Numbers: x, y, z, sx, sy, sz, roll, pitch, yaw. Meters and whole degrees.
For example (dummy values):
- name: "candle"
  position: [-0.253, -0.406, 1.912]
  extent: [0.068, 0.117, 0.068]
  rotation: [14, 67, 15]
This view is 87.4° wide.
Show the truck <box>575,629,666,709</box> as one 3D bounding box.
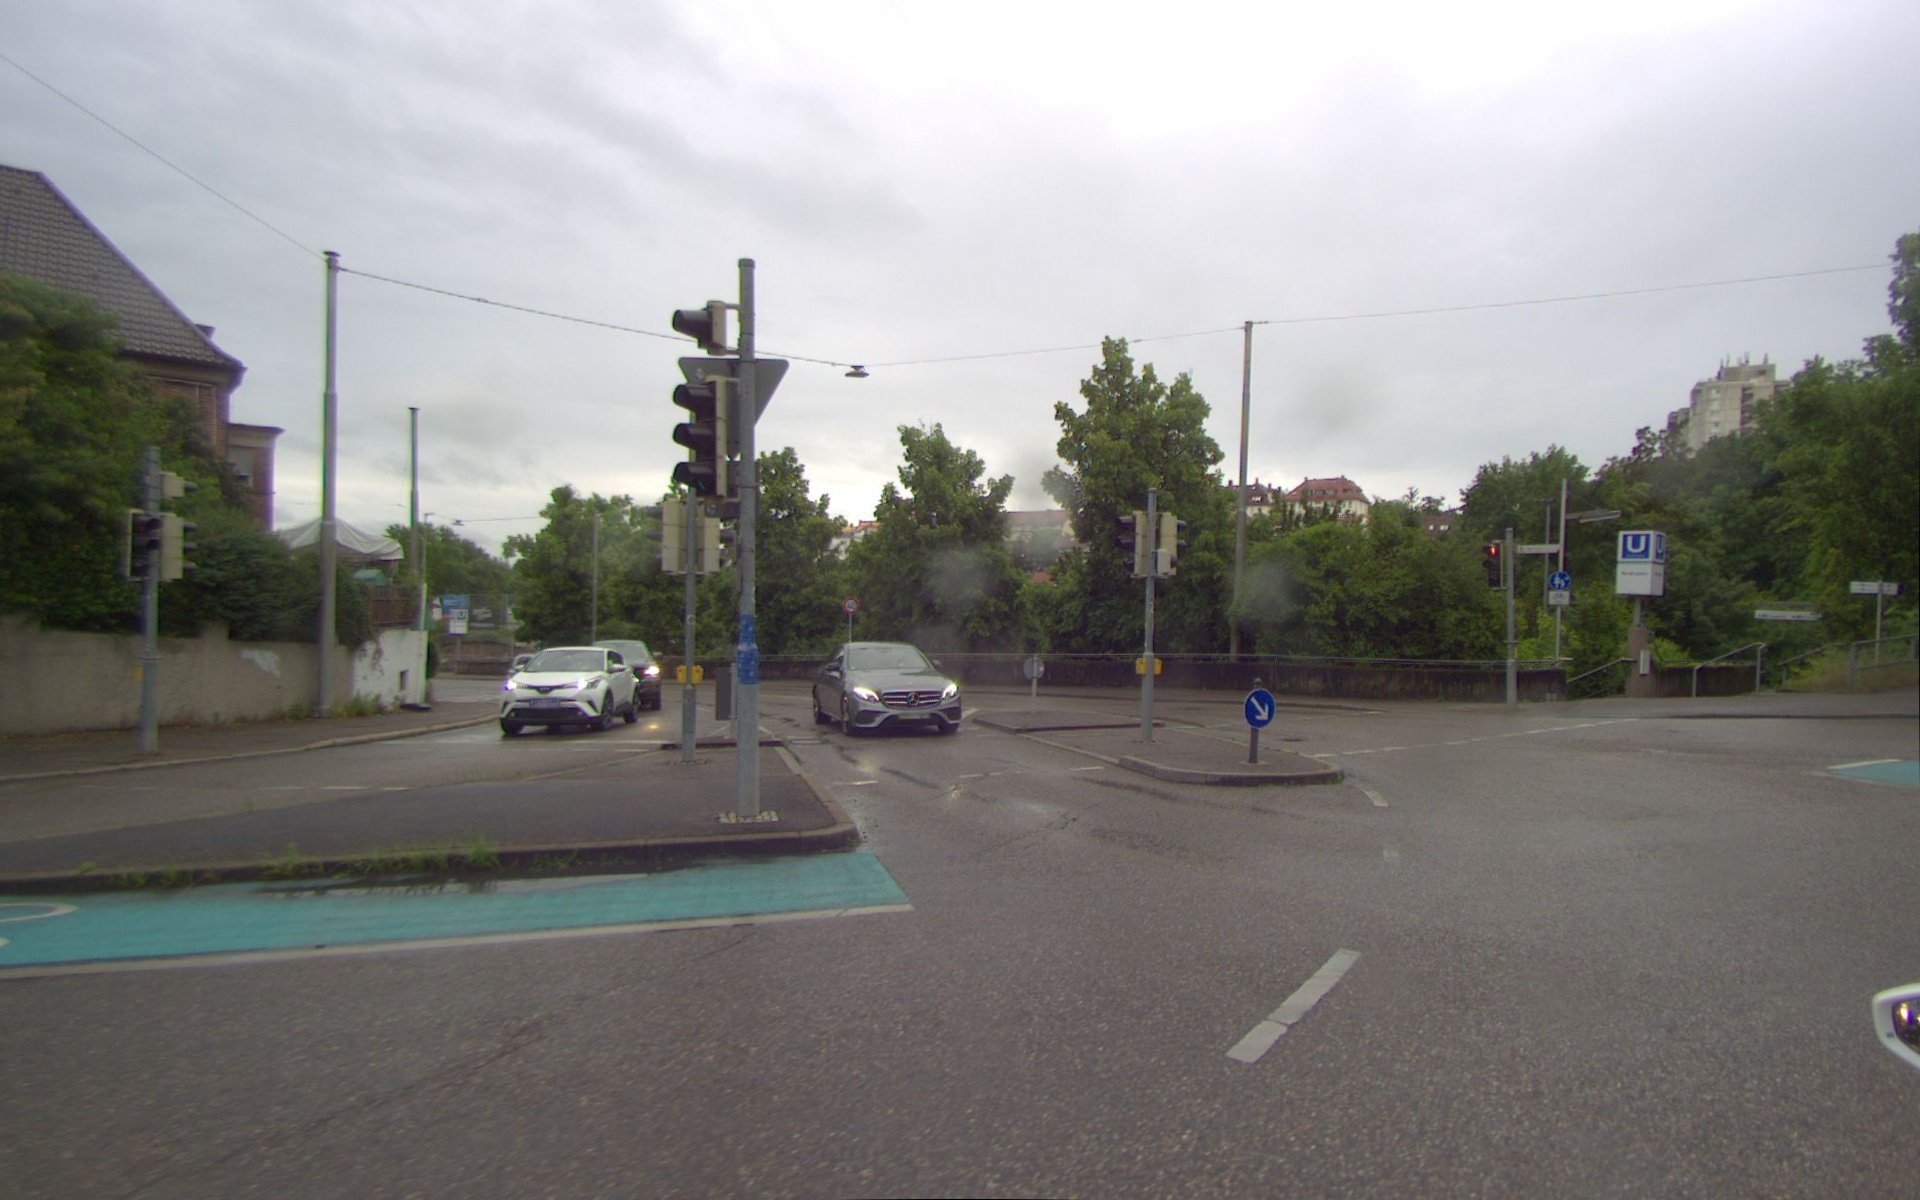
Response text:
- name: "truck"
  position: [-8.986, 1.702, 26.313]
  extent: [1.862, 1.873, 5.251]
  rotation: [1, -2, -23]

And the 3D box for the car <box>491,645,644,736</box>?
- name: "car"
  position: [-7.220, 1.606, 18.897]
  extent: [1.681, 1.486, 4.256]
  rotation: [1, -2, -8]

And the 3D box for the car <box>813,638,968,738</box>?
- name: "car"
  position: [-1.349, 1.387, 17.255]
  extent: [1.834, 1.413, 4.584]
  rotation: [-2, -2, -15]
